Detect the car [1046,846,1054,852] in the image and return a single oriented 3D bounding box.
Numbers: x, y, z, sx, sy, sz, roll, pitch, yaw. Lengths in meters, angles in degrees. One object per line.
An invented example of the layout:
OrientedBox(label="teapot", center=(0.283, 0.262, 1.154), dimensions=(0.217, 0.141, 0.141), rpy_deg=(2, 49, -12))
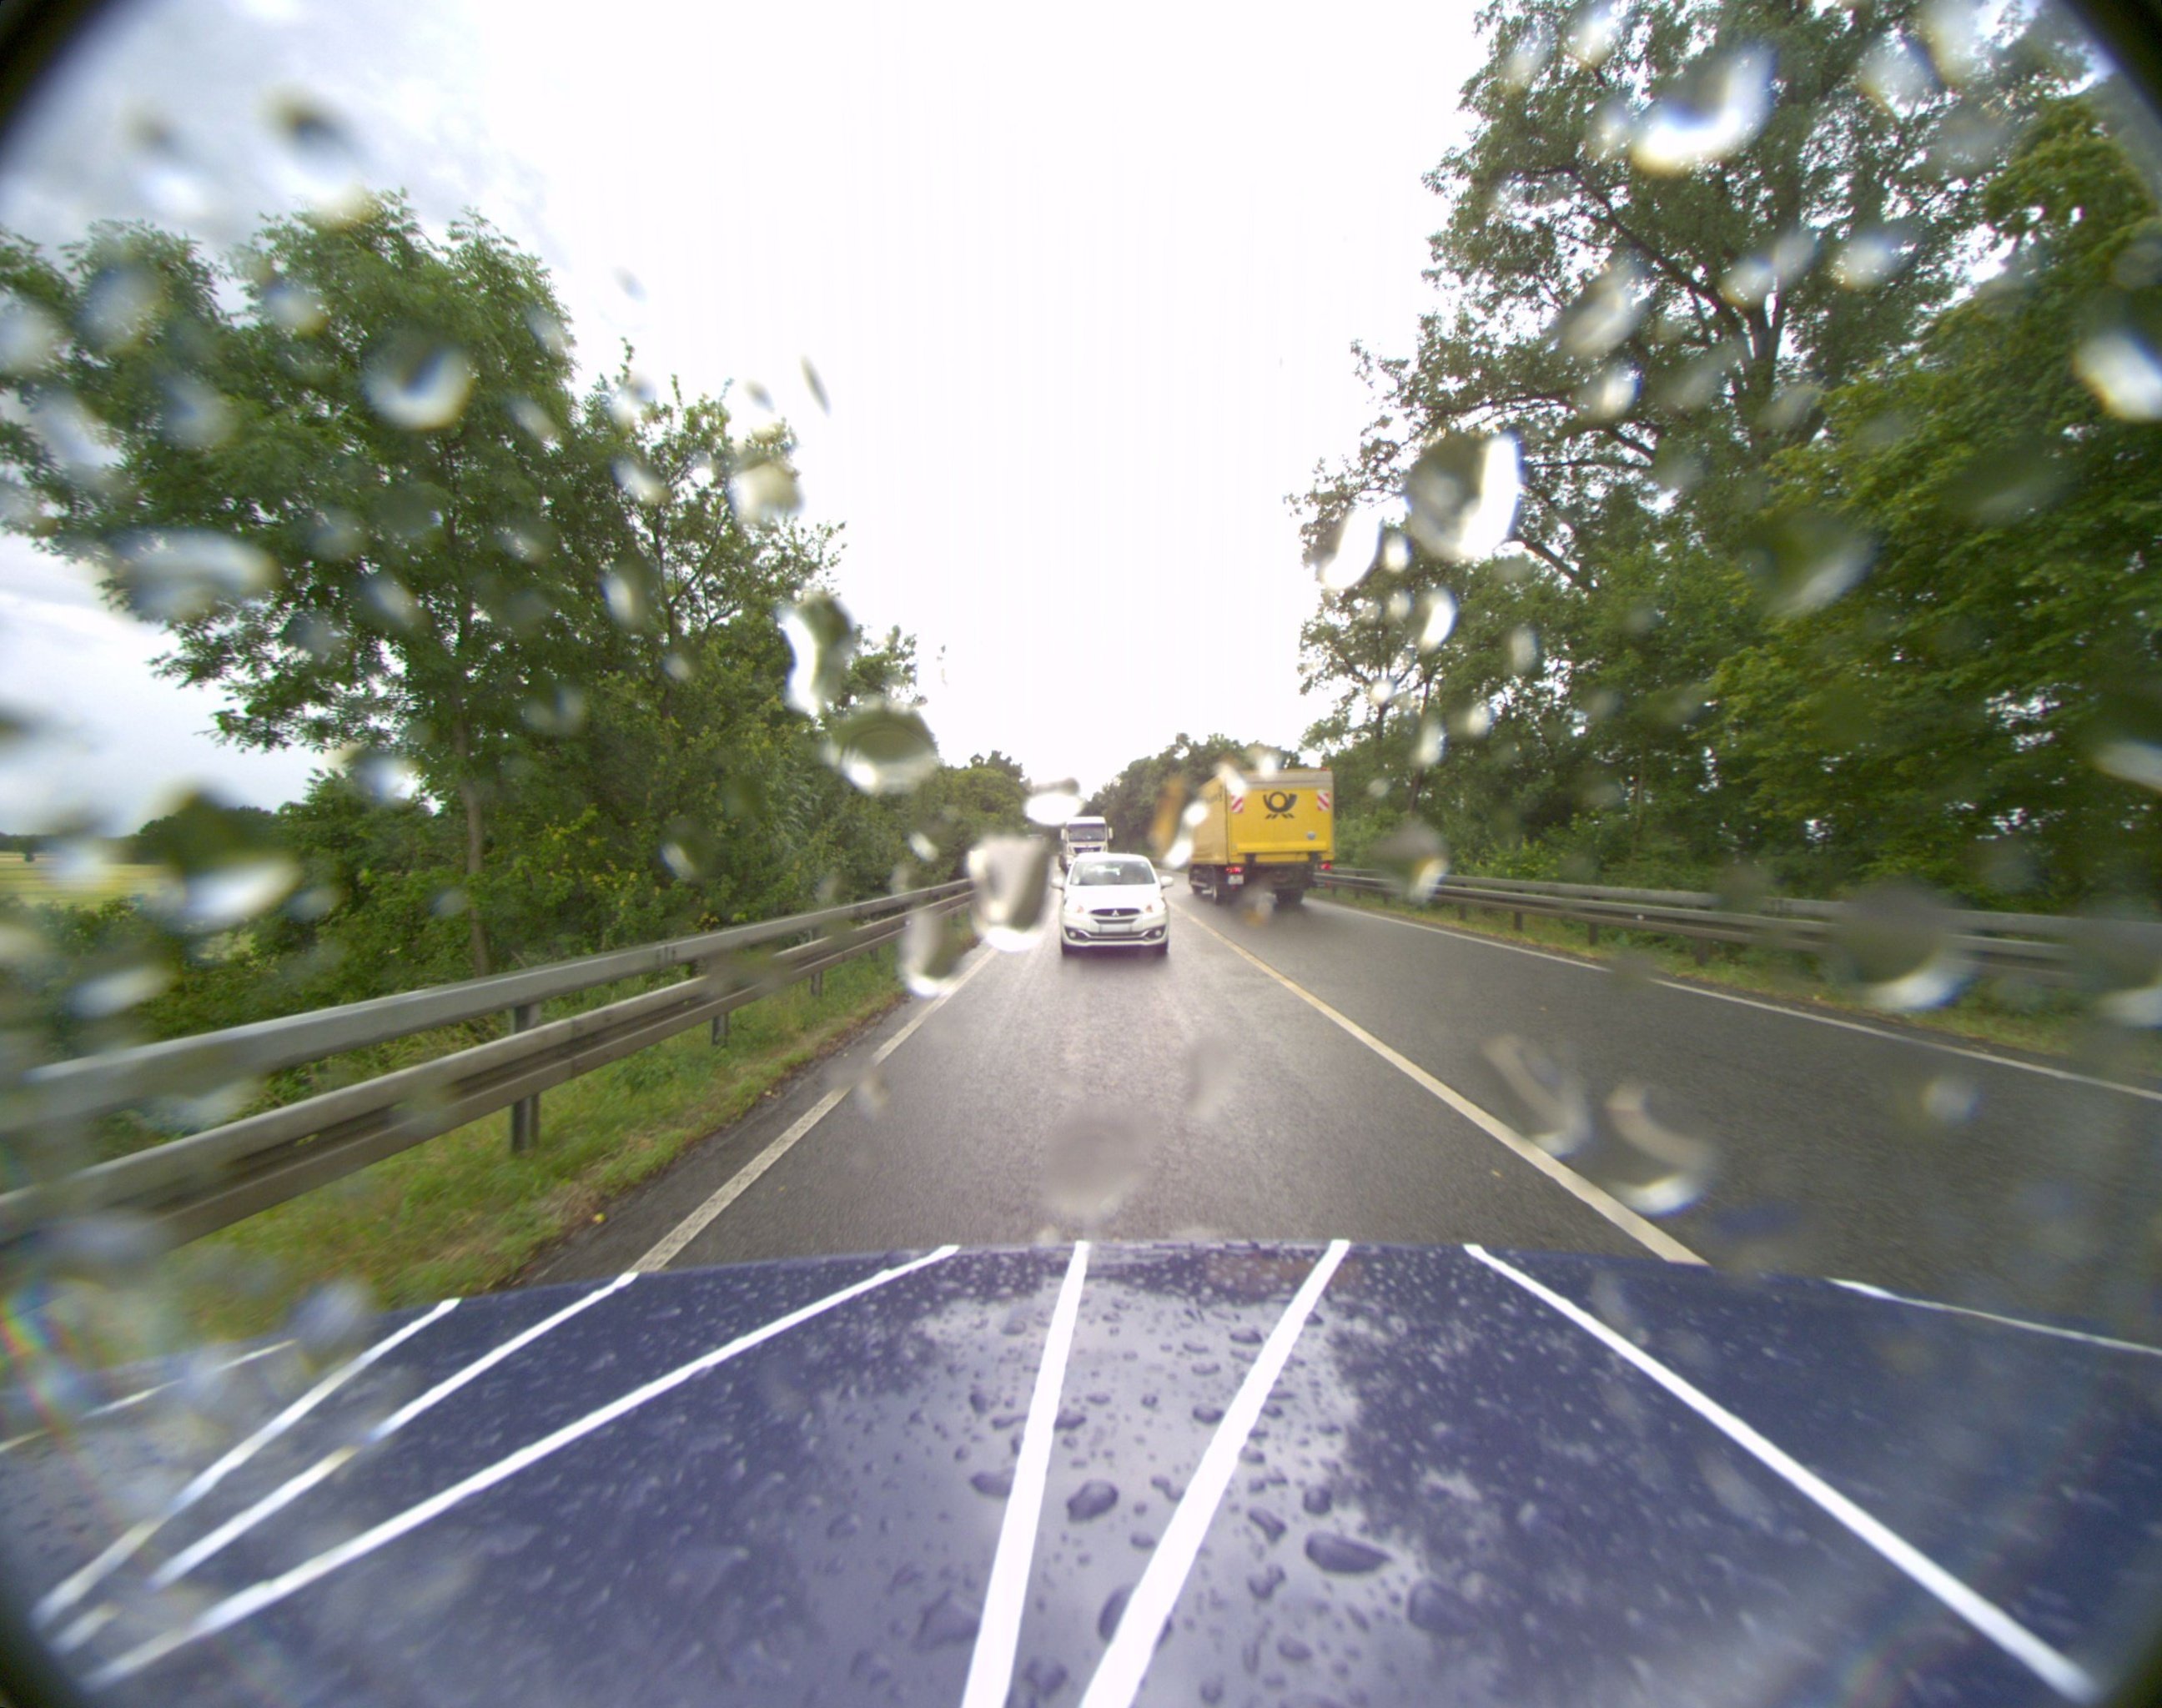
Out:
OrientedBox(label="car", center=(-6.265, -1.027, 154.027), dimensions=(1.246, 1.281, 2.880), rpy_deg=(-2, 1, -10))

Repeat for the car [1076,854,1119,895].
OrientedBox(label="car", center=(0.664, 0.719, 28.148), dimensions=(1.475, 1.410, 3.429), rpy_deg=(-1, 0, 3))

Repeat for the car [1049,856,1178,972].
OrientedBox(label="car", center=(0.467, 0.818, 12.309), dimensions=(1.701, 1.471, 4.062), rpy_deg=(-1, 1, 1))

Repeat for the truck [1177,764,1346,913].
OrientedBox(label="truck", center=(4.788, -0.420, 22.277), dimensions=(2.777, 3.410, 9.186), rpy_deg=(-1, 1, 0))

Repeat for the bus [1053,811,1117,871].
OrientedBox(label="bus", center=(0.005, -0.822, 50.799), dimensions=(3.064, 3.405, 13.633), rpy_deg=(-1, 1, -4))

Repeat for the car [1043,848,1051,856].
OrientedBox(label="car", center=(-6.202, -0.352, 137.197), dimensions=(1.393, 1.470, 3.226), rpy_deg=(0, 1, -4))
